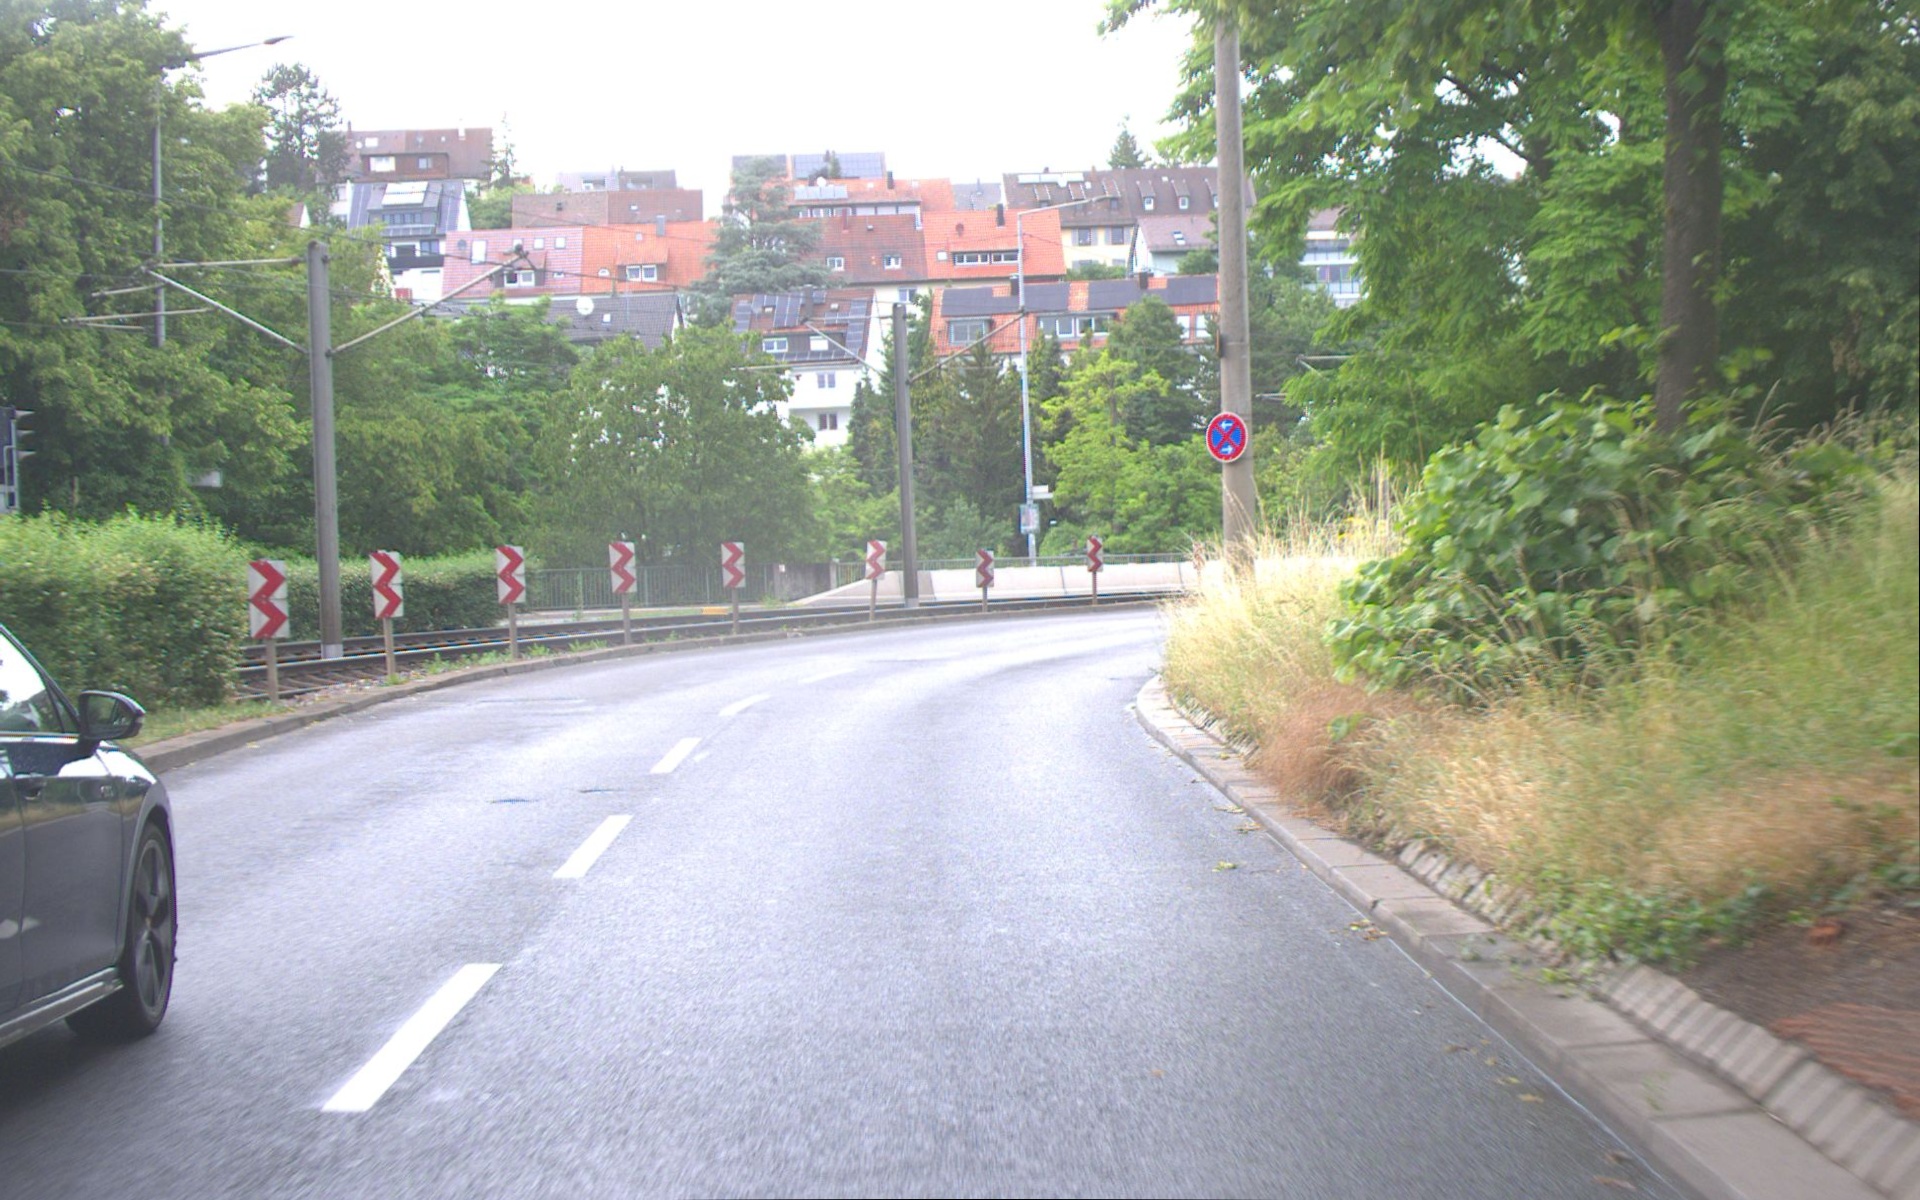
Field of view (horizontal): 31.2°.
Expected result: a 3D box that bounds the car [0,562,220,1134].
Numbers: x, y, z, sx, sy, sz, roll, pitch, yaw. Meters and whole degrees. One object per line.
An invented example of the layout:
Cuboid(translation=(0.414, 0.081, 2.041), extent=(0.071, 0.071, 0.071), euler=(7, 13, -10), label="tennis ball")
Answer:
Cuboid(translation=(-3.247, 0.605, 8.840), extent=(1.808, 1.374, 4.347), euler=(0, 1, -1), label="car")
